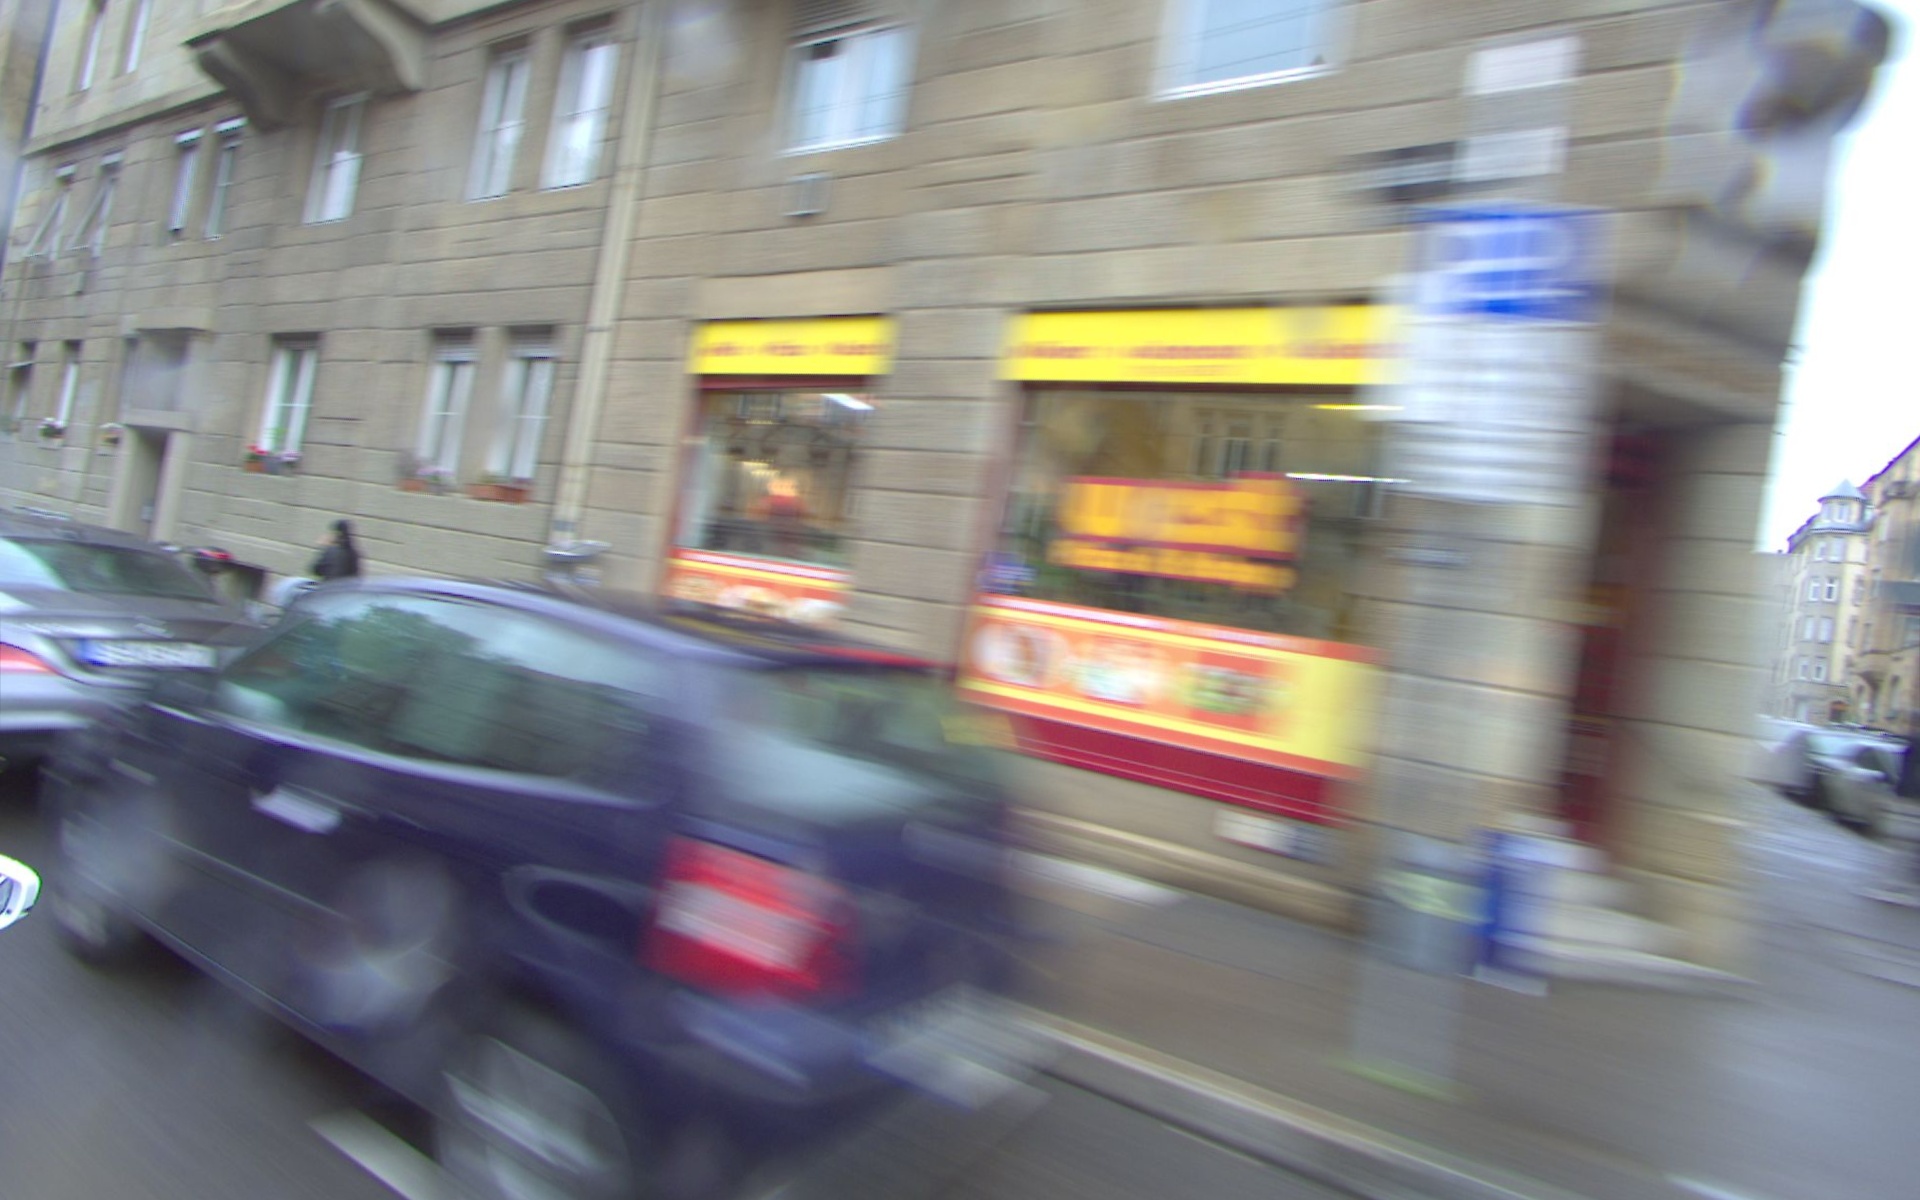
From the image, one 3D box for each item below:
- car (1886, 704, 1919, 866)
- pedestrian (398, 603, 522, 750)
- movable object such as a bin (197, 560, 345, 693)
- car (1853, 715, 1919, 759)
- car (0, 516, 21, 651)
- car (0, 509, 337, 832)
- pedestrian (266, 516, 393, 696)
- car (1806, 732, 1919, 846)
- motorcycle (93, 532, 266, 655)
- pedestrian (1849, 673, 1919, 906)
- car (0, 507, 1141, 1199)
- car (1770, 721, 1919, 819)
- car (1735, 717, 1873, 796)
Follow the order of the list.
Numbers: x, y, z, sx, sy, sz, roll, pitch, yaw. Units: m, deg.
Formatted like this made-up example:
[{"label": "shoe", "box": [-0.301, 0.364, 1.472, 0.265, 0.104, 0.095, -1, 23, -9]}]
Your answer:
[{"label": "car", "box": [12.230, 2.293, 11.113, 1.968, 1.949, 4.709, 5, -1, 32]}, {"label": "pedestrian", "box": [-3.982, 0.610, 8.025, 0.616, 1.062, 0.512, 7, -2, 32]}, {"label": "movable object such as a bin", "box": [-6.717, 0.257, 9.806, 1.105, 1.115, 0.667, 7, -3, 32]}, {"label": "car", "box": [38.926, 5.688, 41.821, 1.794, 1.521, 4.100, 8, -1, 31]}, {"label": "car", "box": [-10.466, -0.305, 9.110, 3.951, 1.413, 1.711, 7, -3, 31]}, {"label": "car", "box": [-5.947, 0.159, 5.995, 4.408, 1.403, 1.758, 7, -1, 29]}, {"label": "pedestrian", "box": [-5.861, 0.057, 9.359, 0.698, 1.552, 0.562, 7, -2, 32]}, {"label": "car", "box": [15.418, 3.076, 16.296, 1.831, 1.408, 4.179, 7, -1, 31]}, {"label": "motorcycle", "box": [-9.801, -0.114, 12.590, 2.700, 1.212, 0.707, 7, -2, 32]}, {"label": "pedestrian", "box": [8.887, 1.751, 9.230, 0.744, 2.038, 0.626, 9, 1, 33]}, {"label": "car", "box": [-1.522, 0.640, 3.422, 3.728, 1.461, 1.673, 7, -1, 32]}, {"label": "car", "box": [17.899, 3.338, 20.192, 1.831, 1.408, 4.179, 7, -1, 31]}, {"label": "car", "box": [20.776, 3.791, 24.944, 1.831, 1.408, 4.179, 7, -1, 31]}]
